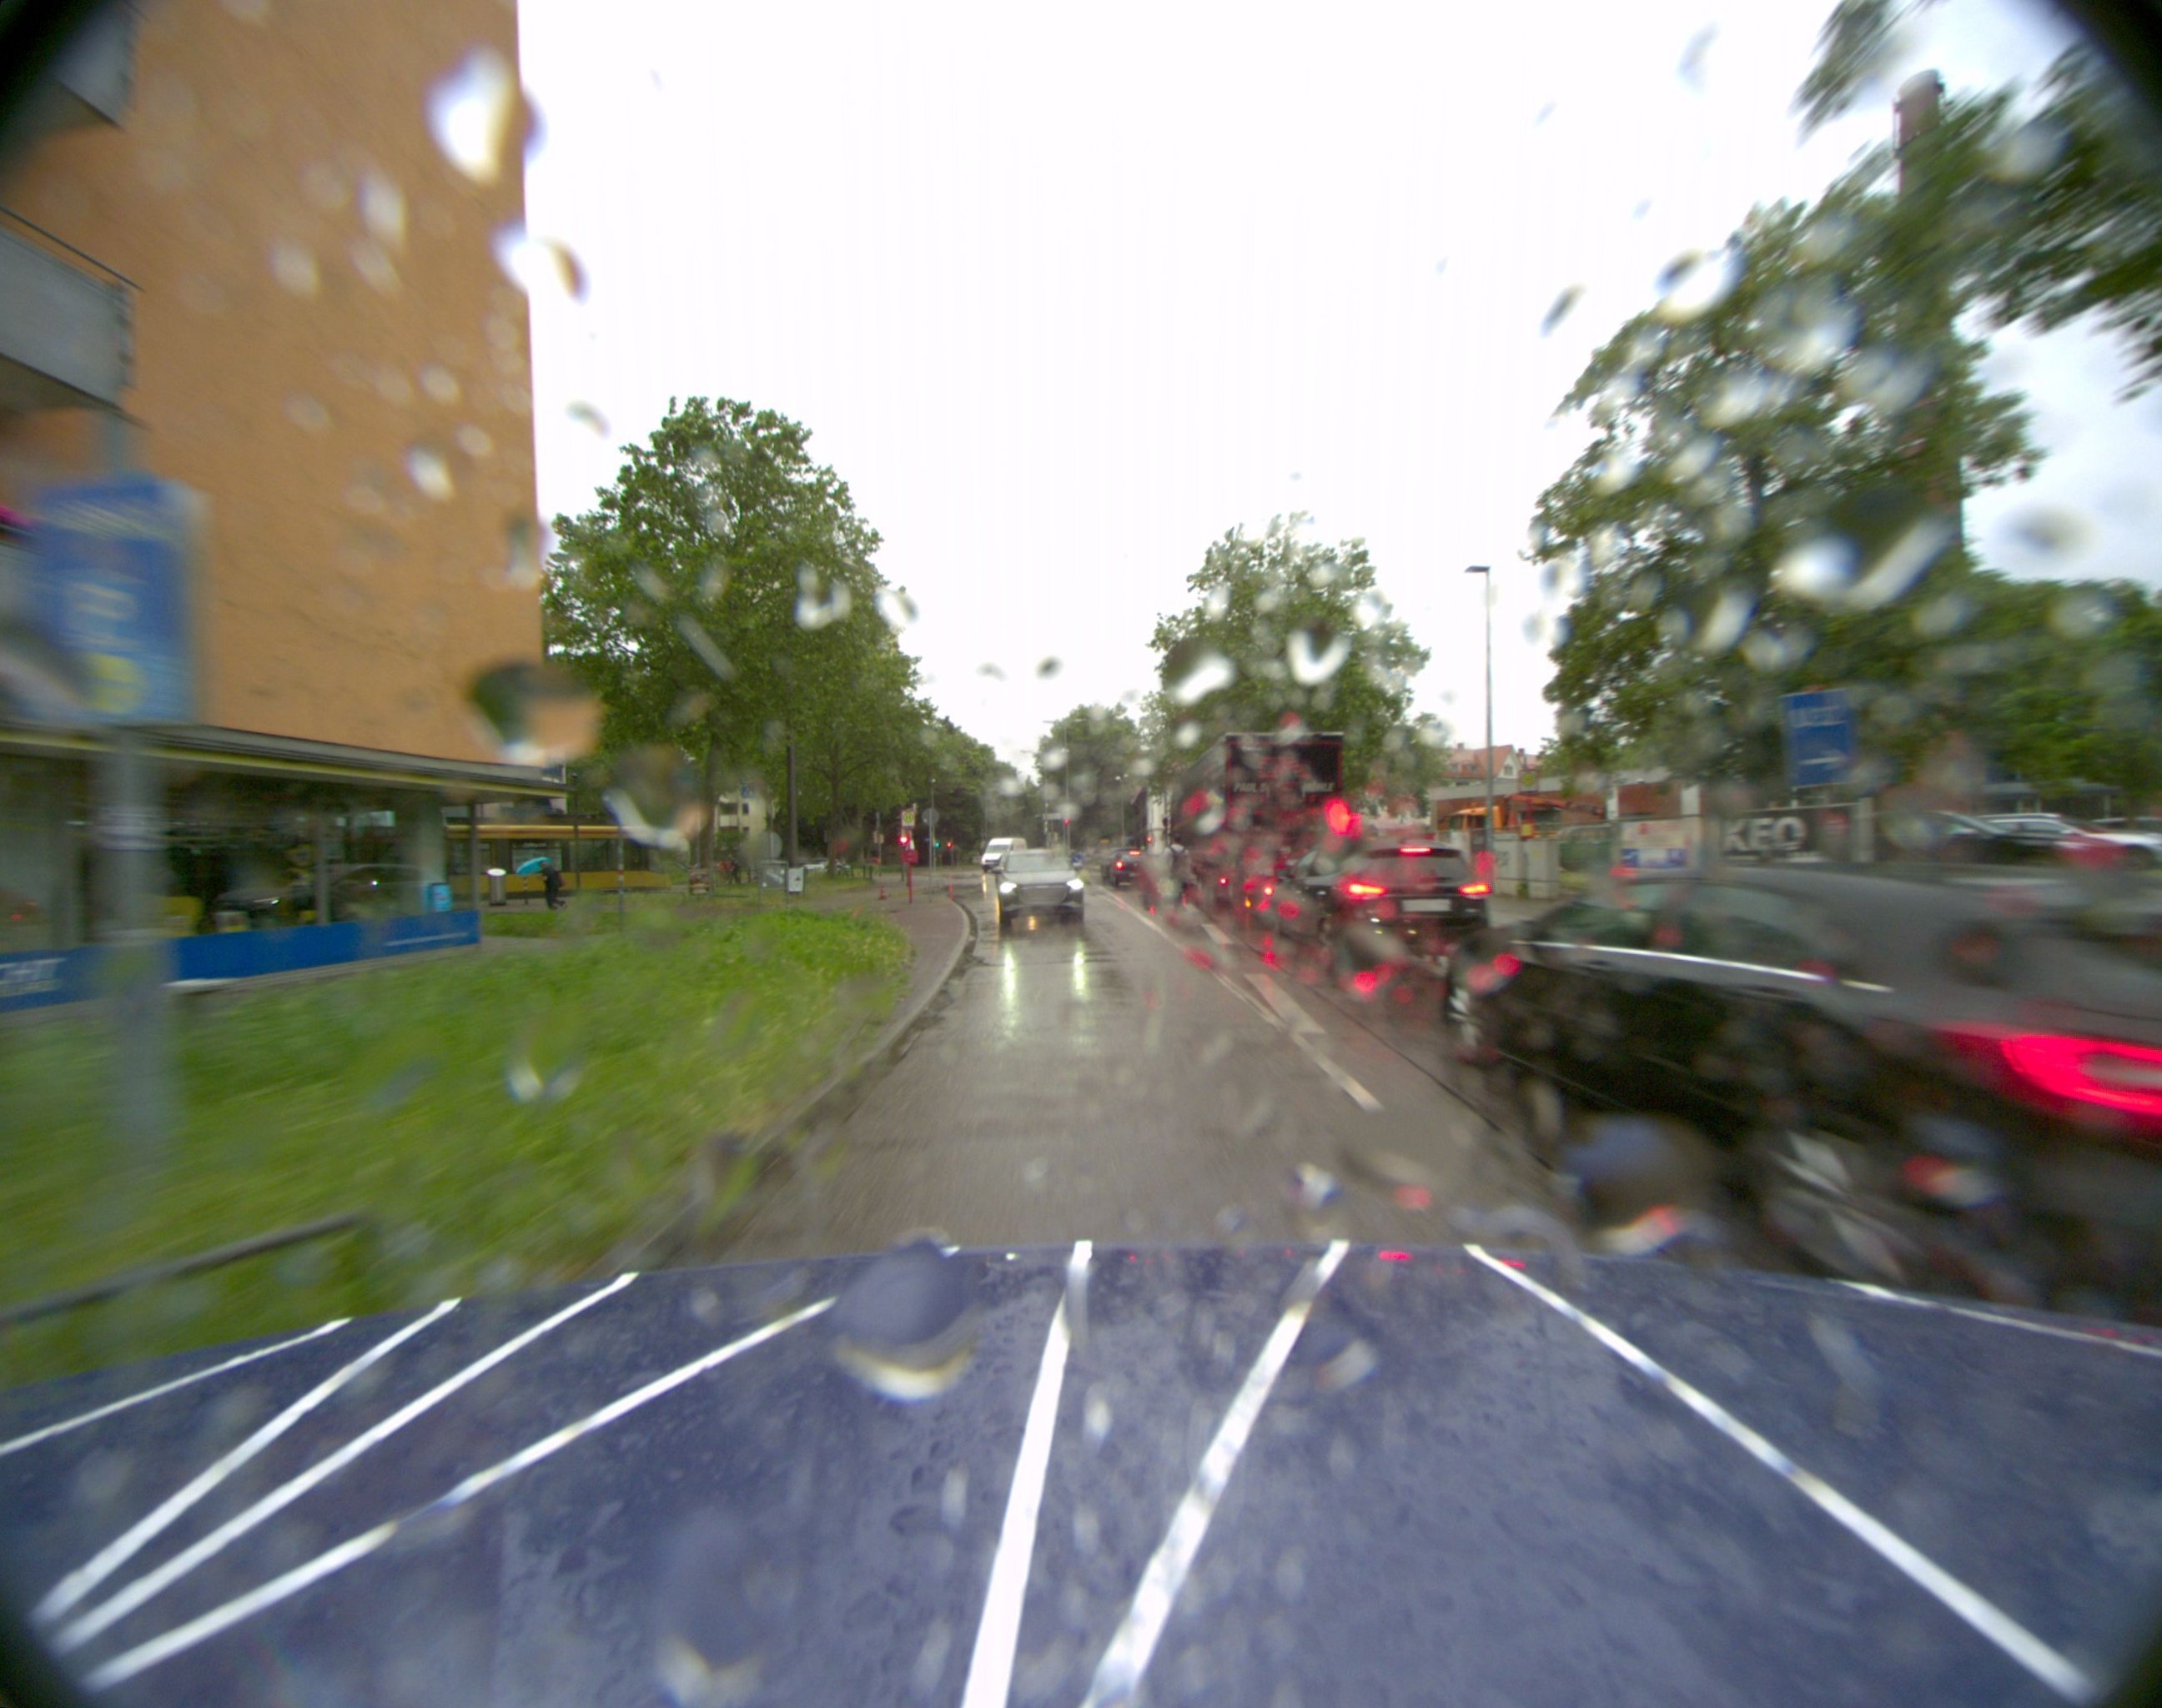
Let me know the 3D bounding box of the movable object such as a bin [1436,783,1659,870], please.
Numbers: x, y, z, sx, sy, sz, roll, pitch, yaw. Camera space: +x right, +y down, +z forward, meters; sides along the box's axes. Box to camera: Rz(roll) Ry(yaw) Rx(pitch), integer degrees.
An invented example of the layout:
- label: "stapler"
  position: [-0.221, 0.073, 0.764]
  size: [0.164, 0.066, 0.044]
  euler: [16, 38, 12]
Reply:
- label: "movable object such as a bin"
  position: [17.711, -0.995, 29.337]
  size: [6.767, 2.913, 2.777]
  euler: [-2, 0, 12]

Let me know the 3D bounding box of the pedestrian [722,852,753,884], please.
- label: "pedestrian"
  position: [-20.267, 0.820, 44.849]
  size: [1.234, 1.778, 1.040]
  euler: [-1, 1, 23]

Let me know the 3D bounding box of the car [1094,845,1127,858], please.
- label: "car"
  position: [4.258, -0.397, 110.178]
  size: [4.667, 1.863, 2.034]
  euler: [-1, 0, 3]

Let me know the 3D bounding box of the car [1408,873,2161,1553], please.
- label: "car"
  position: [3.313, 0.846, 3.788]
  size: [1.730, 1.353, 4.338]
  euler: [-1, 0, 4]

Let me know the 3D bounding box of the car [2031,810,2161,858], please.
- label: "car"
  position: [40.339, -0.780, 28.970]
  size: [2.173, 1.731, 4.795]
  euler: [-2, 0, -28]

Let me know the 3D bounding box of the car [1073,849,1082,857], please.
- label: "car"
  position: [-0.911, -0.319, 189.344]
  size: [1.999, 1.795, 4.349]
  euler: [-2, 0, -1]

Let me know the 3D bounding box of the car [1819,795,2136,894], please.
- label: "car"
  position: [18.511, -0.176, 15.908]
  size: [2.003, 1.780, 3.991]
  euler: [-2, 0, -30]

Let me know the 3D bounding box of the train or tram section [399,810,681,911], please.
- label: "train or tram section"
  position: [-20.338, 0.116, 29.068]
  size: [8.392, 3.350, 2.639]
  euler: [-2, 1, -43]

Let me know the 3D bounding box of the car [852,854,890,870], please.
- label: "car"
  position: [-22.053, 0.823, 79.777]
  size: [3.459, 1.516, 1.842]
  euler: [-2, 0, -2]

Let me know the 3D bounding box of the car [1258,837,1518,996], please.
- label: "car"
  position: [3.855, 0.625, 10.559]
  size: [1.871, 1.610, 4.801]
  euler: [-1, 2, 3]

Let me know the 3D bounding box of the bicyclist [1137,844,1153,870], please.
- label: "bicyclist"
  position: [3.593, 0.175, 42.795]
  size: [0.581, 1.452, 1.010]
  euler: [-1, 1, -11]

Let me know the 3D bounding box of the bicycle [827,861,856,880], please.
- label: "bicycle"
  position: [-14.484, 0.981, 45.995]
  size: [1.620, 1.070, 0.445]
  euler: [-2, 1, -23]

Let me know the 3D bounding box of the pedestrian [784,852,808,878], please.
- label: "pedestrian"
  position: [-18.379, 0.697, 49.007]
  size: [1.054, 1.676, 0.997]
  euler: [-1, 1, 14]

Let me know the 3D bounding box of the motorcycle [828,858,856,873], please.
- label: "motorcycle"
  position: [-20.371, 0.961, 64.676]
  size: [2.074, 1.208, 0.881]
  euler: [-2, 1, -5]

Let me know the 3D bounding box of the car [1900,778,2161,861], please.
- label: "car"
  position: [26.213, -0.857, 20.930]
  size: [2.003, 2.002, 4.666]
  euler: [-2, 0, -33]

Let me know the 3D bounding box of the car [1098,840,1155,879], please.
- label: "car"
  position: [2.151, 0.310, 37.471]
  size: [2.080, 1.672, 4.928]
  euler: [-4, -1, -4]

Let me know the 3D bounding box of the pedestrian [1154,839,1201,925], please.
- label: "pedestrian"
  position: [2.155, 0.601, 16.800]
  size: [0.869, 1.833, 0.993]
  euler: [-1, 1, 15]

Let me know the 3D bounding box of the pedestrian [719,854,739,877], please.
- label: "pedestrian"
  position: [-22.086, 0.716, 47.655]
  size: [1.012, 1.373, 0.672]
  euler: [-1, 1, -34]

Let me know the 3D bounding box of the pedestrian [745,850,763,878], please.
- label: "pedestrian"
  position: [-20.876, 0.648, 48.455]
  size: [0.996, 1.771, 0.810]
  euler: [-1, 1, -26]

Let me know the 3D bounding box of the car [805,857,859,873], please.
- label: "car"
  position: [-21.978, 0.975, 67.163]
  size: [4.172, 1.268, 1.902]
  euler: [-2, 1, -9]

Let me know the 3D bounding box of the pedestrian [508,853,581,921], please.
- label: "pedestrian"
  position: [-15.370, 0.917, 21.817]
  size: [1.386, 1.854, 1.172]
  euler: [-2, 1, -21]

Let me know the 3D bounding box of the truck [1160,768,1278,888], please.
- label: "truck"
  position: [5.153, -0.898, 29.900]
  size: [3.458, 4.055, 6.974]
  euler: [-2, 0, 2]

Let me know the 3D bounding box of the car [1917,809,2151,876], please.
- label: "car"
  position: [28.202, -0.282, 22.658]
  size: [2.003, 1.781, 3.992]
  euler: [-2, -1, -27]

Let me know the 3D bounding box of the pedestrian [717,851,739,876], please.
- label: "pedestrian"
  position: [-21.806, 0.555, 46.933]
  size: [1.067, 1.517, 0.876]
  euler: [-1, 1, -38]

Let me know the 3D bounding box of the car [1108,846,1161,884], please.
- label: "car"
  position: [2.090, 0.411, 30.787]
  size: [1.702, 1.365, 4.099]
  euler: [-2, 0, -2]

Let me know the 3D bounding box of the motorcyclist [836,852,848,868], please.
- label: "motorcyclist"
  position: [-20.318, 0.542, 64.672]
  size: [0.754, 1.343, 0.757]
  euler: [-2, 1, -5]

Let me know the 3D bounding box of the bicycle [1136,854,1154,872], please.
- label: "bicycle"
  position: [3.598, 0.497, 42.759]
  size: [0.533, 1.018, 1.872]
  euler: [-1, 1, -11]

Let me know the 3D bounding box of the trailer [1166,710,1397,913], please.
- label: "trailer"
  position: [4.893, -0.876, 22.905]
  size: [3.450, 4.025, 15.051]
  euler: [-1, 0, 2]

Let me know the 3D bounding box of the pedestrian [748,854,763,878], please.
- label: "pedestrian"
  position: [-20.486, 0.751, 47.803]
  size: [0.763, 1.539, 0.691]
  euler: [-1, 1, -32]

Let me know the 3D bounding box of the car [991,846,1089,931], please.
- label: "car"
  position: [-1.077, 0.706, 17.728]
  size: [1.810, 1.611, 4.134]
  euler: [-4, 1, -8]

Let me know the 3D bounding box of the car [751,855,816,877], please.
- label: "car"
  position: [-22.266, 0.885, 57.030]
  size: [4.177, 1.452, 1.993]
  euler: [-2, 0, -7]

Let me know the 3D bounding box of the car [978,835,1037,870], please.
- label: "car"
  position: [-5.632, -0.154, 59.328]
  size: [2.280, 2.547, 6.518]
  euler: [-2, 1, 15]

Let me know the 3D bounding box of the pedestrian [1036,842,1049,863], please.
- label: "pedestrian"
  position: [-2.919, -0.119, 57.124]
  size: [0.864, 1.572, 0.642]
  euler: [-1, 1, -15]
